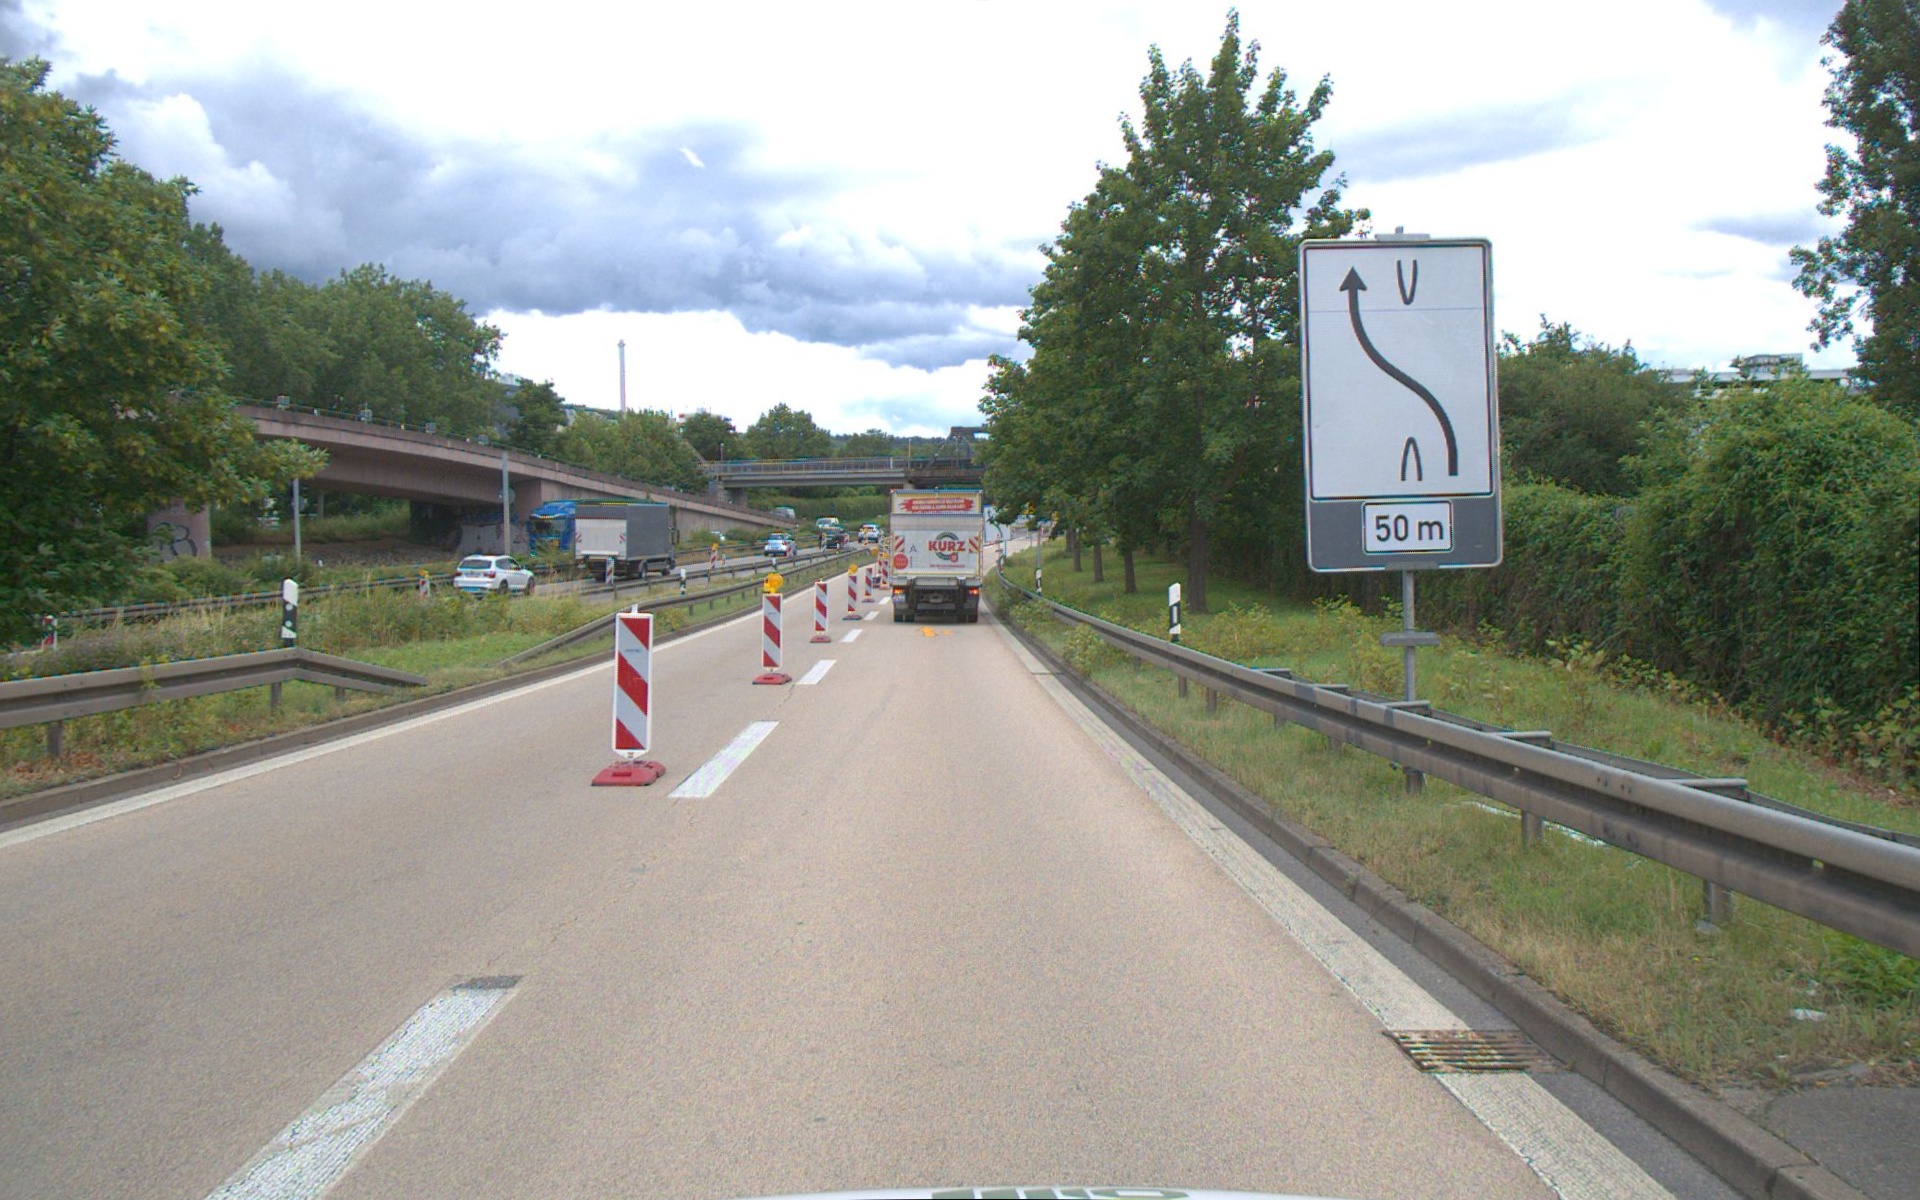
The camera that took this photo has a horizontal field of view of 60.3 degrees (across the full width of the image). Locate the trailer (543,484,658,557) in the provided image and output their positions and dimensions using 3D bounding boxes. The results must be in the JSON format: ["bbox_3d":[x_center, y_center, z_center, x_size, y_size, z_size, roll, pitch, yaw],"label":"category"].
[{"bbox_3d":[-22.997,-5.120,106.984,2.712,4.368,13.994,0,3,7],"label":"trailer"}]

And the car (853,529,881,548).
[{"bbox_3d":[-8.175,-5.448,145.551,1.951,1.646,4.003,0,2,4],"label":"car"}]

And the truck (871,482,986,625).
[{"bbox_3d":[-0.867,-1.318,47.412,2.989,3.737,7.927,0,1,-1],"label":"truck"}]

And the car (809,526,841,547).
[{"bbox_3d":[-10.595,-5.028,130.124,1.951,1.646,4.003,0,2,4],"label":"car"}]

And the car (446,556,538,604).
[{"bbox_3d":[-18.221,-0.821,64.601,1.951,1.742,4.105,0,3,8],"label":"car"}]

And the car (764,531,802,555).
[{"bbox_3d":[-12.144,-3.940,113.756,1.951,1.646,4.003,0,2,4],"label":"car"}]

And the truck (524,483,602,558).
[{"bbox_3d":[-23.915,-4.785,99.901,2.694,4.345,5.509,0,2,8],"label":"truck"}]

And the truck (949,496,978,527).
[{"bbox_3d":[0.534,-11.421,213.546,3.217,3.919,7.670,0,2,4],"label":"truck"}]

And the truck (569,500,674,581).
[{"bbox_3d":[-16.163,-2.886,79.588,2.986,3.719,7.402,0,2,5],"label":"truck"}]
